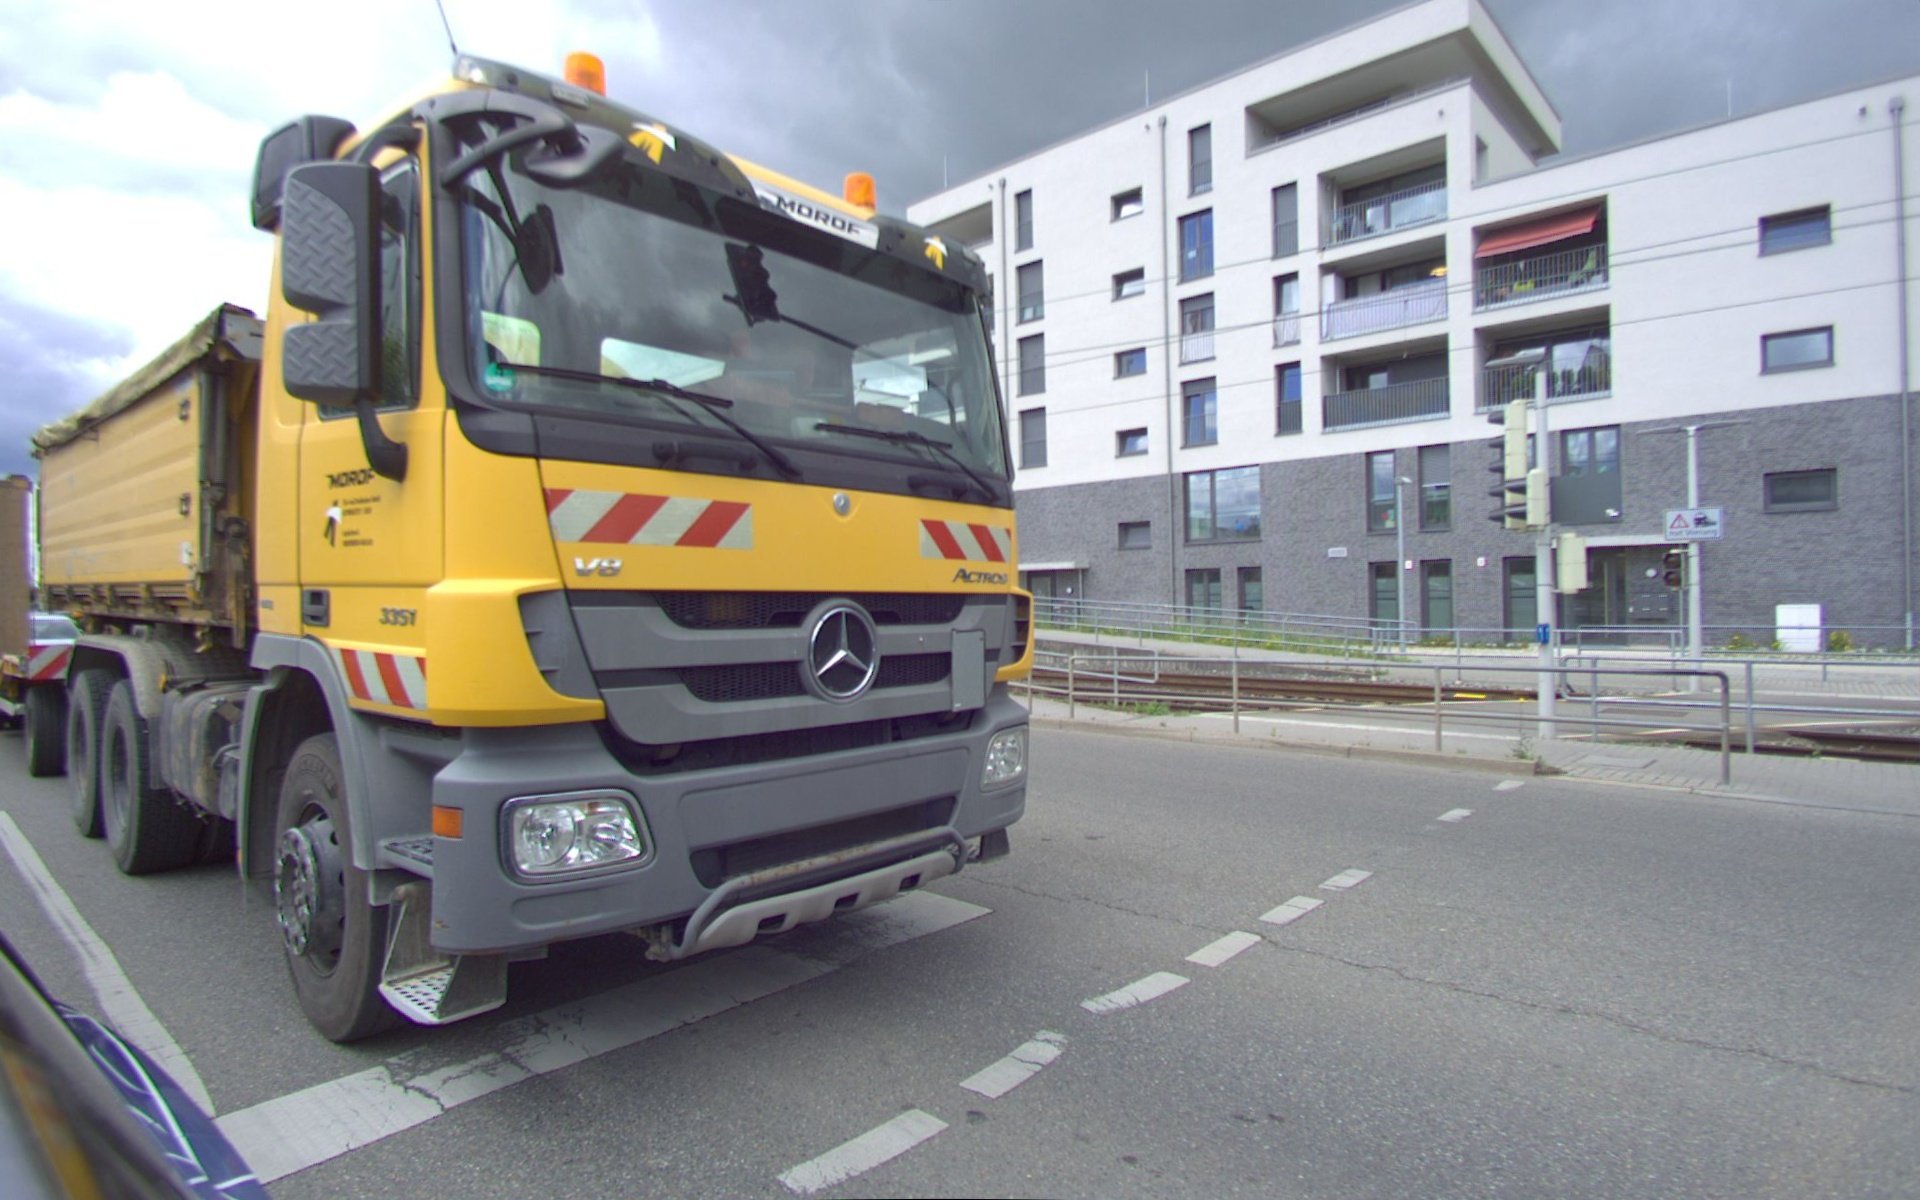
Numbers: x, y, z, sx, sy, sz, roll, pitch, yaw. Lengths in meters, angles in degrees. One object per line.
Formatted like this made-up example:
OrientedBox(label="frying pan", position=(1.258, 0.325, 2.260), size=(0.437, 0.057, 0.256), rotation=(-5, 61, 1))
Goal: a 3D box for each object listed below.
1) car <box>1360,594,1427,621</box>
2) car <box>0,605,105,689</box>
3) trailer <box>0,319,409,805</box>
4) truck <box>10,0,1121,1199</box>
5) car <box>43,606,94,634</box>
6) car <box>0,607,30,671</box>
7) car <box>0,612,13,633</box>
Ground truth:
OrientedBox(label="car", position=(24.922, 0.446, 58.225), size=(1.579, 1.513, 3.145), rotation=(0, -1, -41))
OrientedBox(label="car", position=(-18.763, 0.878, 20.542), size=(4.000, 1.490, 1.670), rotation=(0, 1, 43))
OrientedBox(label="trailer", position=(-10.093, -0.243, 12.014), size=(10.910, 3.548, 2.678), rotation=(-1, 0, 42))
OrientedBox(label="truck", position=(-3.118, -0.055, 5.805), size=(7.776, 3.026, 2.691), rotation=(0, 1, 42))
OrientedBox(label="car", position=(-49.211, 1.106, 55.848), size=(4.044, 1.480, 1.758), rotation=(-1, 0, 43))
OrientedBox(label="car", position=(-24.395, 0.944, 25.084), size=(4.000, 1.490, 1.670), rotation=(0, 1, 43))
OrientedBox(label="car", position=(-83.129, 1.968, 87.220), size=(4.863, 1.785, 1.862), rotation=(-1, 0, 43))
